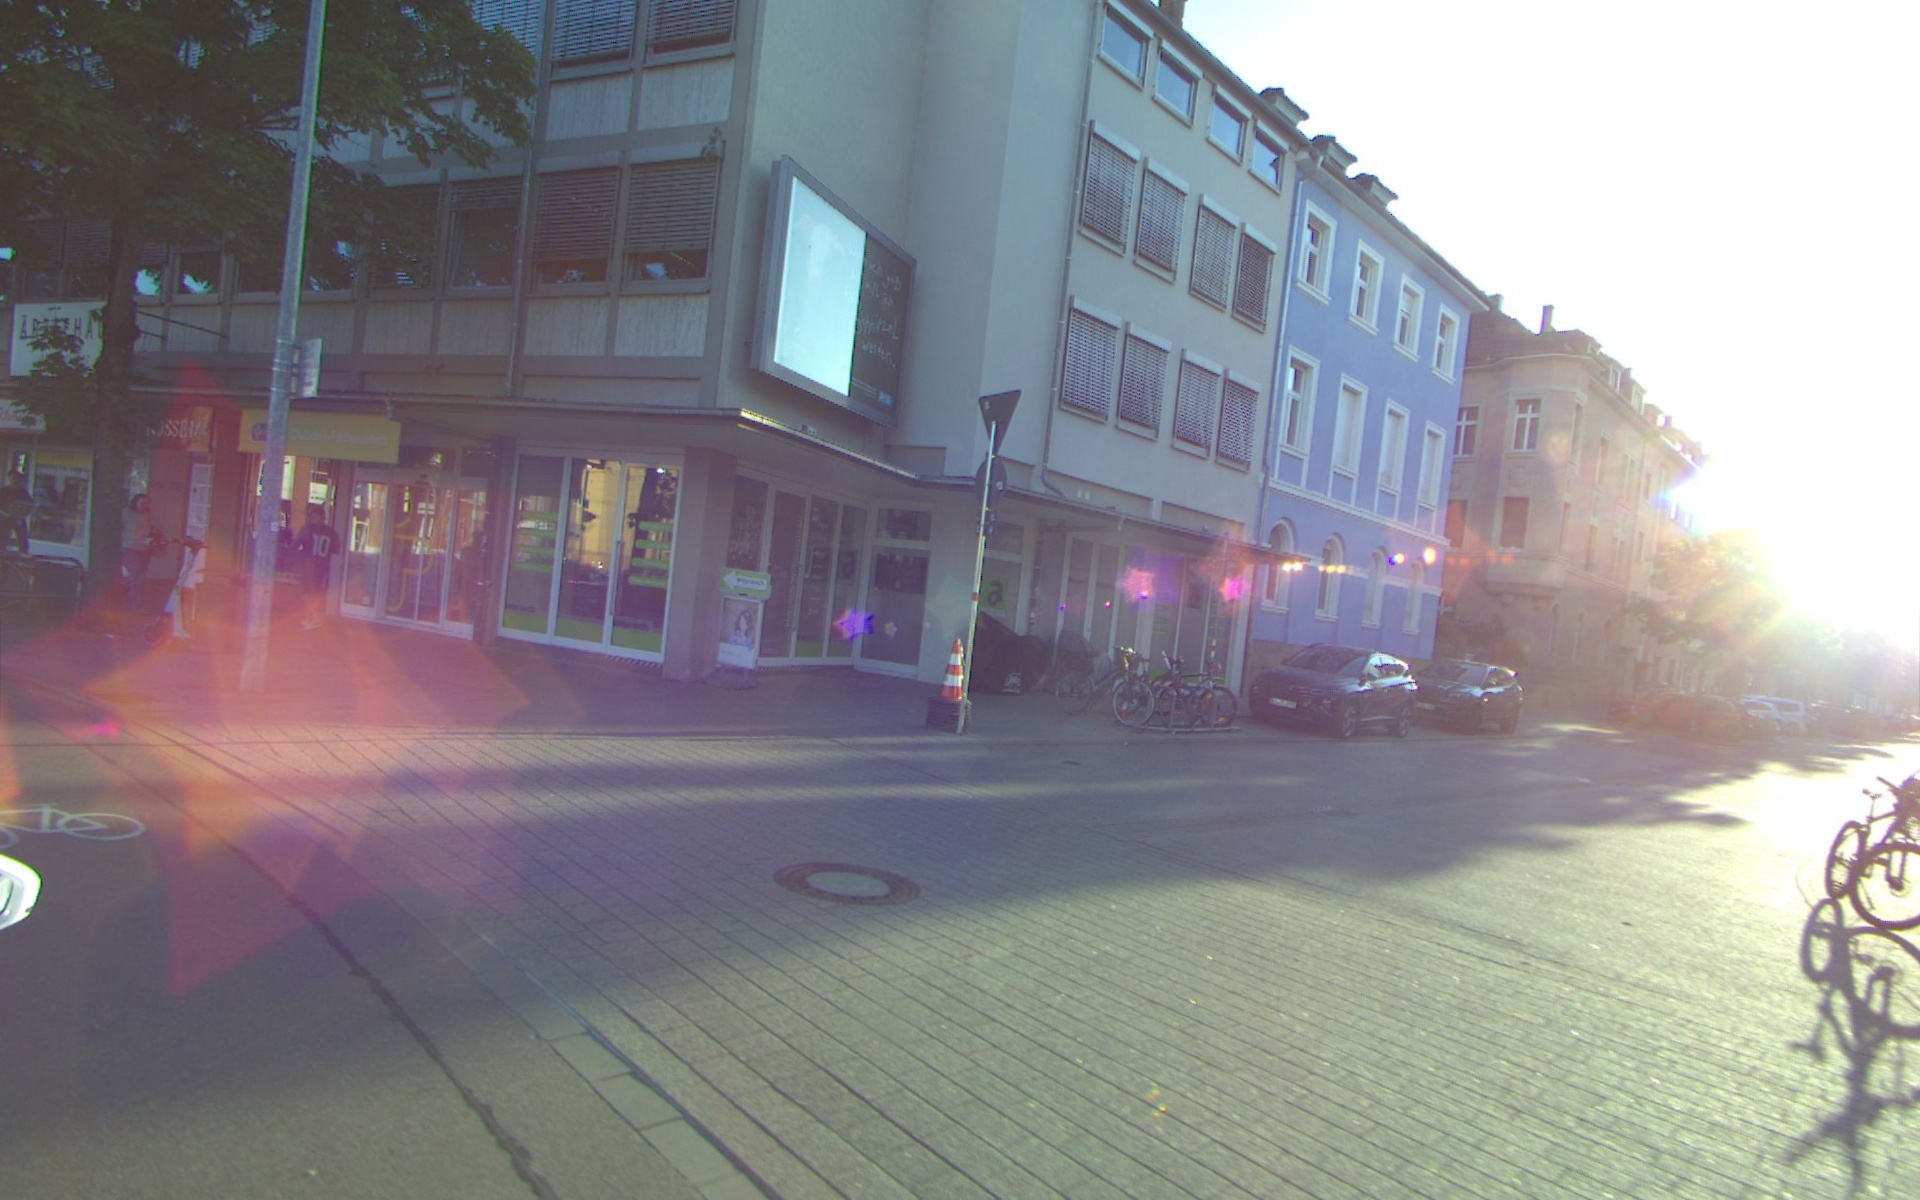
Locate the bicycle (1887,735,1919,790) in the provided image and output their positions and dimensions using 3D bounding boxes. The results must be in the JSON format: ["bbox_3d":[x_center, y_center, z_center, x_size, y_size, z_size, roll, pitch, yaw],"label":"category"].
[{"bbox_3d":[22.076,3.732,22.161,2.311,1.153,0.526,6,-1,41],"label":"bicycle"}]

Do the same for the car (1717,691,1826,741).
[{"bbox_3d":[43.004,6.117,53.410,3.925,2.037,1.847,6,-1,19],"label":"car"}]

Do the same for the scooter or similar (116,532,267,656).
[{"bbox_3d":[-8.410,-0.048,11.047,1.204,1.232,0.293,5,0,-21],"label":"scooter or similar"}]

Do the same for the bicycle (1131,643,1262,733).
[{"bbox_3d":[3.880,1.437,16.615,1.892,1.126,0.626,11,2,41],"label":"bicycle"}]

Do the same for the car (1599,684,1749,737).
[{"bbox_3d":[26.994,4.170,38.158,4.074,1.361,2.002,7,-2,8],"label":"car"}]

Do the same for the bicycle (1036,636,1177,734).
[{"bbox_3d":[2.172,1.251,15.137,1.978,1.127,0.582,9,3,41],"label":"bicycle"}]

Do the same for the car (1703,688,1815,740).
[{"bbox_3d":[40.666,5.776,51.303,3.925,2.000,1.868,6,-1,19],"label":"car"}]

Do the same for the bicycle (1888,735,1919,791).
[{"bbox_3d":[21.696,3.672,21.725,2.311,1.158,0.526,6,-1,41],"label":"bicycle"}]

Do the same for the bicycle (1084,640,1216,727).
[{"bbox_3d":[2.987,1.300,15.923,1.893,1.126,0.626,6,-1,41],"label":"bicycle"}]

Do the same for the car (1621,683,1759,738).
[{"bbox_3d":[29.242,4.402,40.452,3.925,1.637,2.001,6,-2,19],"label":"car"}]

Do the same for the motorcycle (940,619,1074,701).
[{"bbox_3d":[0.823,1.023,16.803,2.281,1.183,0.800,7,0,-44],"label":"motorcycle"}]

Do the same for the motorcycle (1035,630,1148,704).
[{"bbox_3d":[2.448,1.252,18.490,2.261,1.172,0.730,7,0,-45],"label":"motorcycle"}]

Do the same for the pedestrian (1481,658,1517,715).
[{"bbox_3d":[17.172,2.766,32.071,0.663,1.731,0.710,8,1,44],"label":"pedestrian"}]

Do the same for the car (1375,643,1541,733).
[{"bbox_3d":[12.136,2.169,24.419,4.232,1.642,1.975,7,4,-42],"label":"car"}]

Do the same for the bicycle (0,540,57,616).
[{"bbox_3d":[-12.437,-0.342,12.420,0.408,0.901,1.822,6,-2,30],"label":"bicycle"}]

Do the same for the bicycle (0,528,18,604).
[{"bbox_3d":[-13.267,-0.534,12.864,0.380,0.986,1.661,6,-2,30],"label":"bicycle"}]

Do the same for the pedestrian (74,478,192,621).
[{"bbox_3d":[-11.308,-0.686,13.764,0.956,1.799,0.748,6,-1,25],"label":"pedestrian"}]

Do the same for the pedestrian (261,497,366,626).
[{"bbox_3d":[-9.254,-0.538,14.413,0.878,1.703,0.748,6,-1,25],"label":"pedestrian"}]

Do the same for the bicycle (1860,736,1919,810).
[{"bbox_3d":[18.308,3.324,18.665,2.312,1.247,0.602,4,-1,41],"label":"bicycle"}]

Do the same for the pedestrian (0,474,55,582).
[{"bbox_3d":[-16.741,-1.278,17.744,0.786,1.799,0.748,6,-1,25],"label":"pedestrian"}]

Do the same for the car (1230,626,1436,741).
[{"bbox_3d":[7.378,1.690,19.665,4.412,1.773,1.895,8,1,-44],"label":"car"}]

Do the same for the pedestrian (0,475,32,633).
[{"bbox_3d":[-10.959,-0.561,10.806,1.029,1.705,0.826,7,-1,2],"label":"pedestrian"}]

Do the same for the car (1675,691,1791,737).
[{"bbox_3d":[37.862,5.562,49.410,3.925,1.527,2.000,7,0,19],"label":"car"}]

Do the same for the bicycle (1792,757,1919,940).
[{"bbox_3d":[7.526,1.982,8.256,0.526,1.173,1.909,6,-1,26],"label":"bicycle"}]
